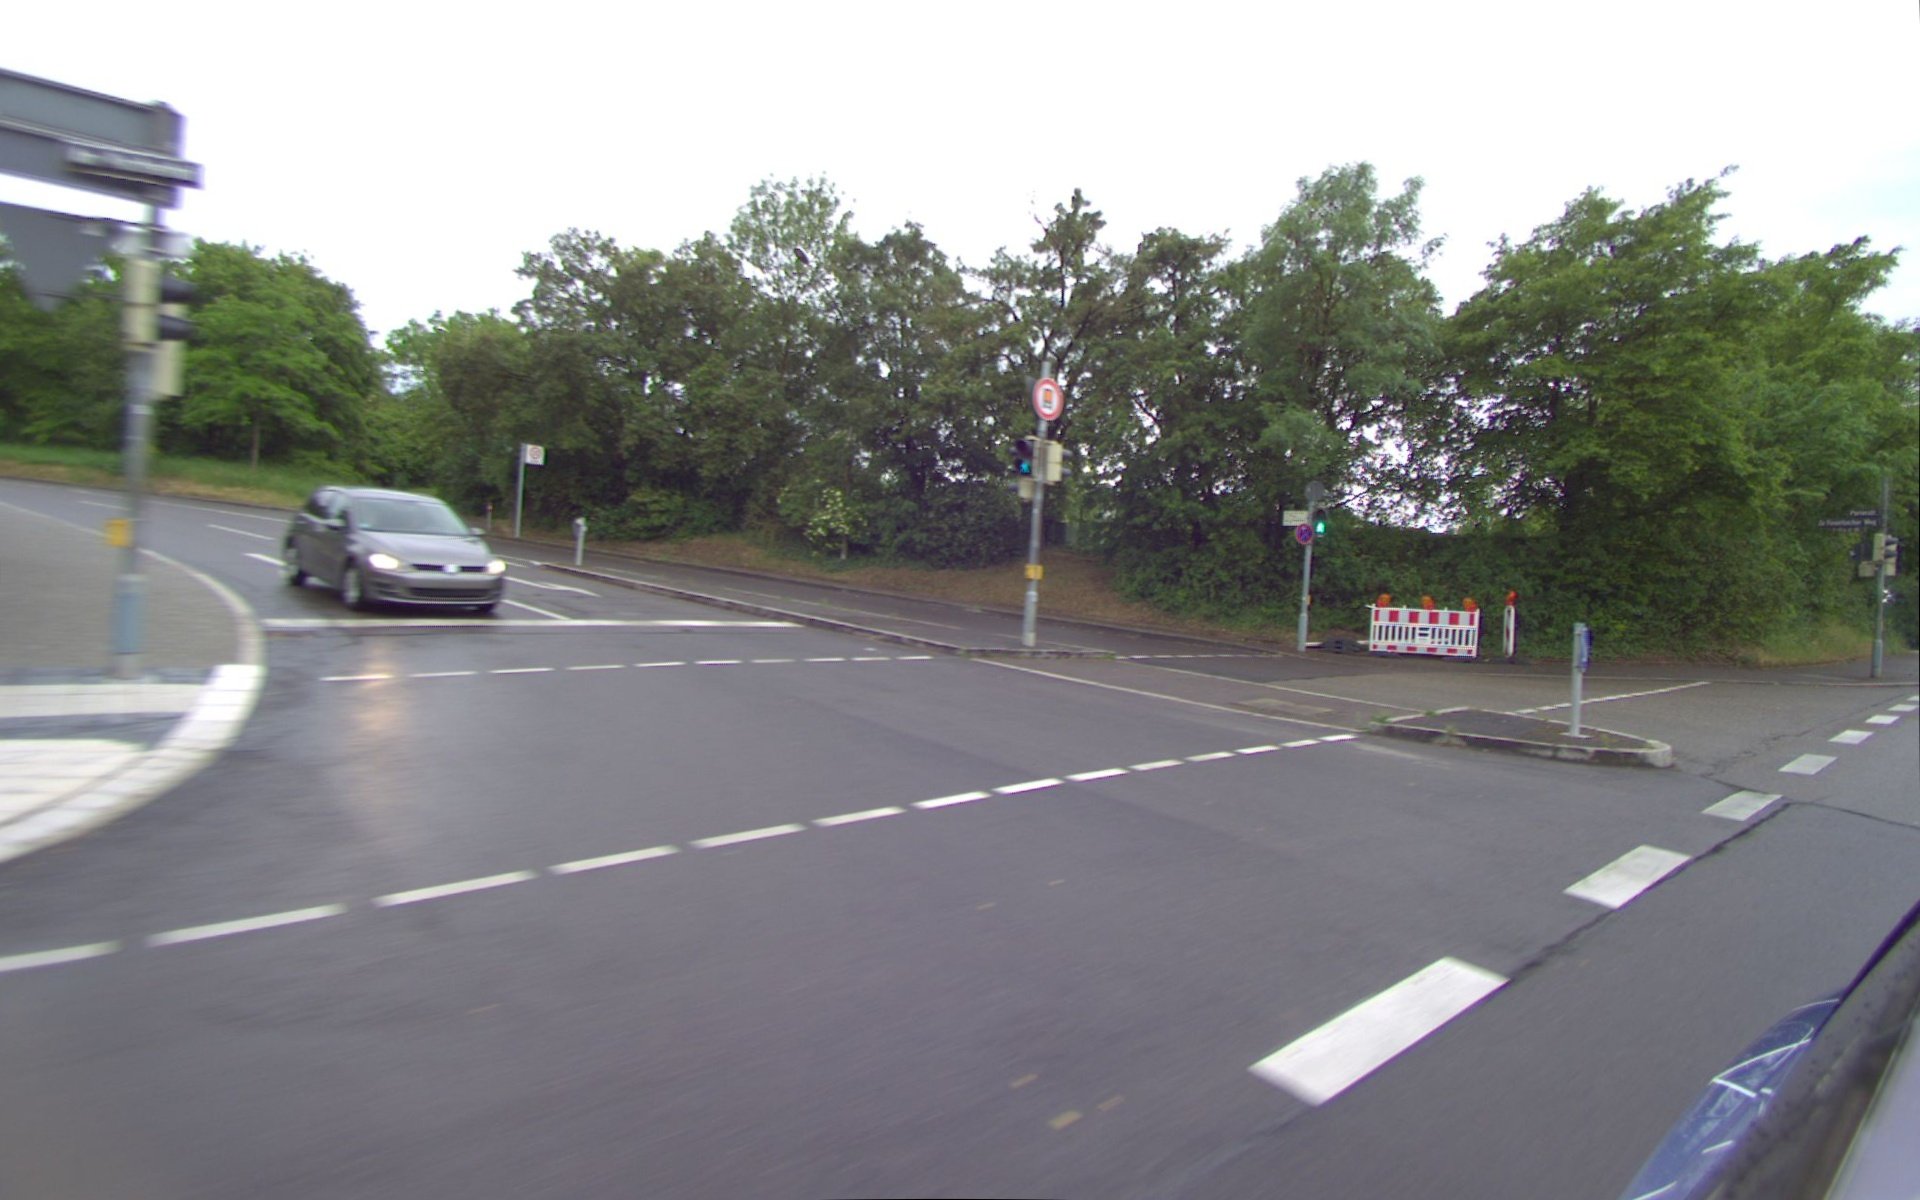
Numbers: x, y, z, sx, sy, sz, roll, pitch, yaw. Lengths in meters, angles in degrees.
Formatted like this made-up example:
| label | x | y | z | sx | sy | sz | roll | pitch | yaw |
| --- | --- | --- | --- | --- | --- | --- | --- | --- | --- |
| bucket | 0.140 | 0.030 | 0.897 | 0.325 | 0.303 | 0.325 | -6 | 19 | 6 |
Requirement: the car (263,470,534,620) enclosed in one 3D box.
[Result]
| label | x | y | z | sx | sy | sz | roll | pitch | yaw |
| --- | --- | --- | --- | --- | --- | --- | --- | --- | --- |
| car | -7.593 | -0.801 | 13.521 | 4.075 | 1.470 | 1.863 | 11 | 7 | 40 |
